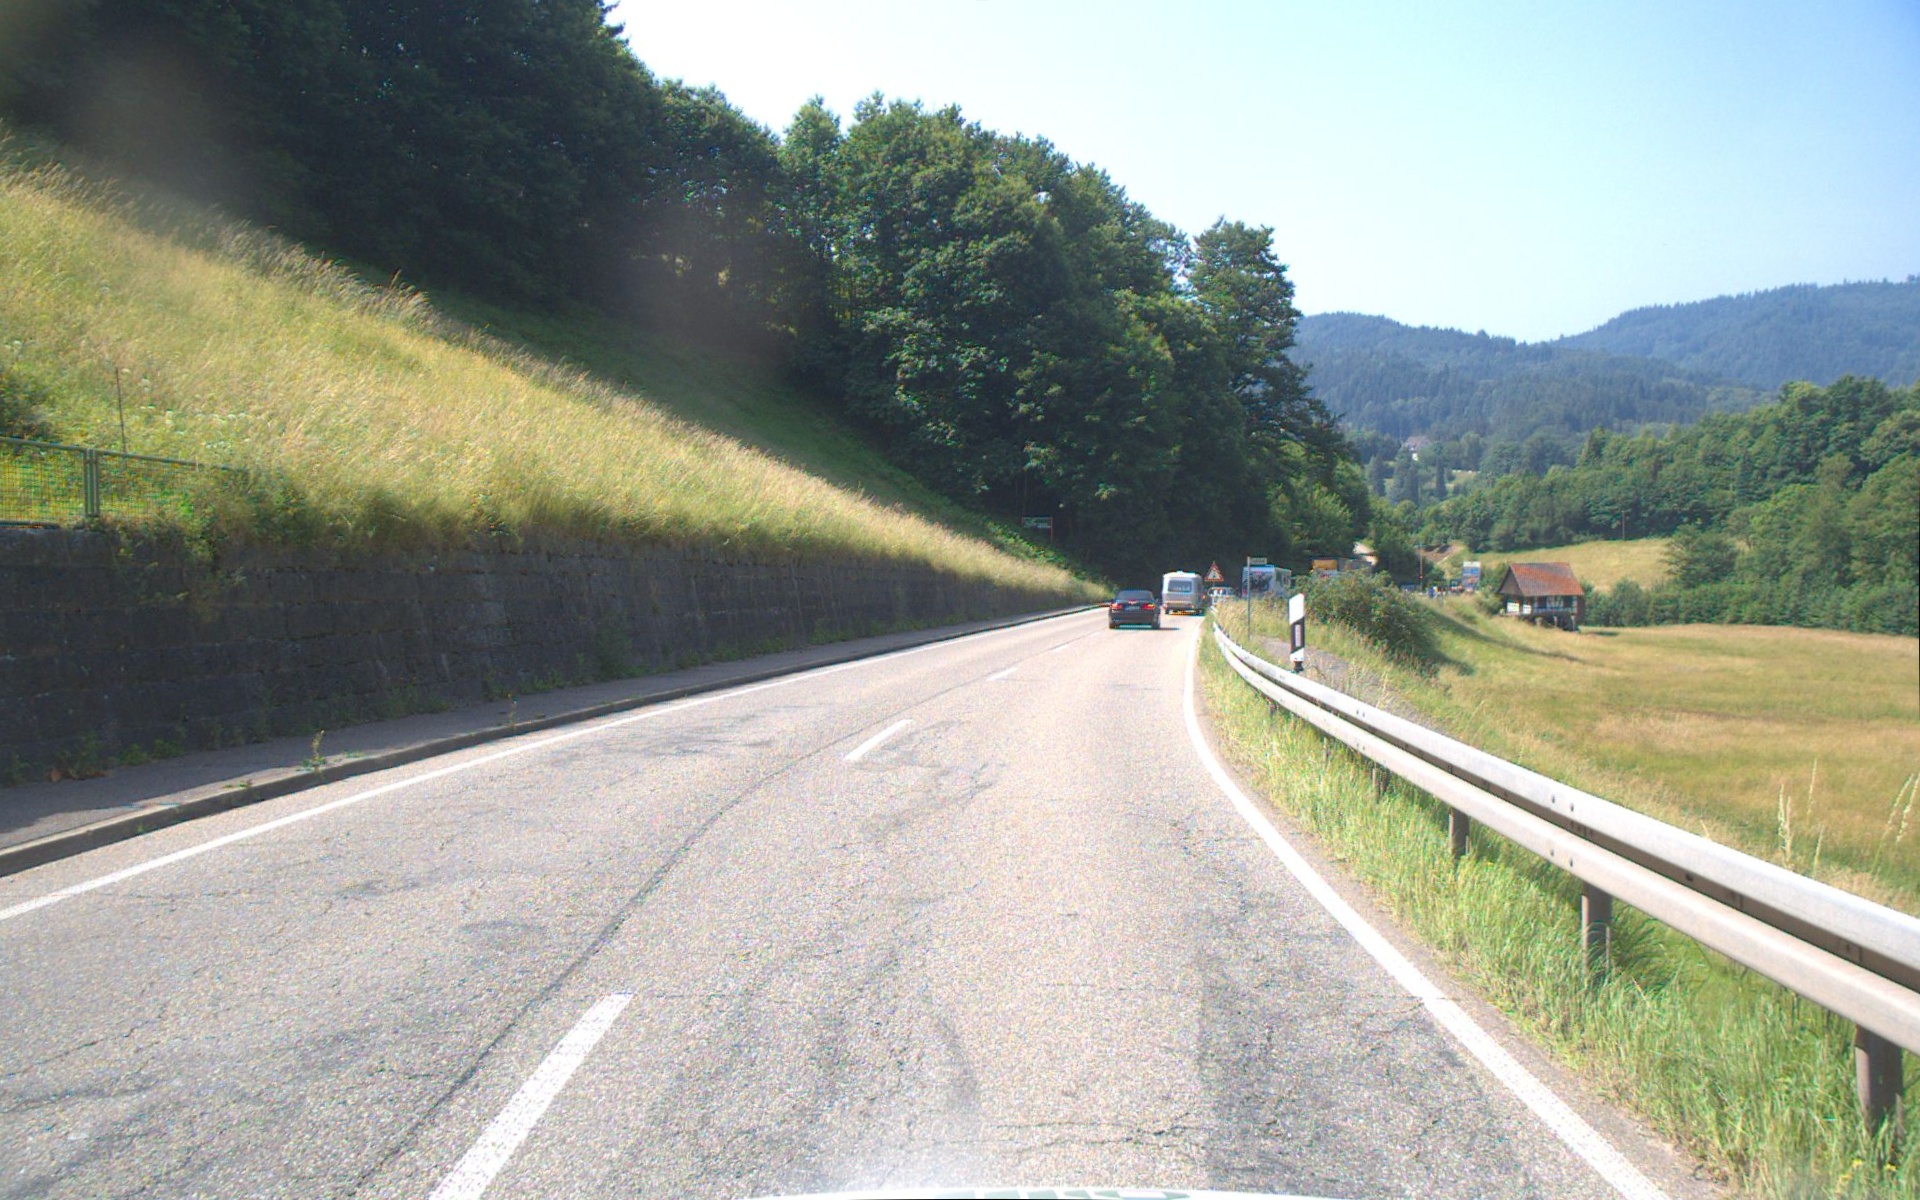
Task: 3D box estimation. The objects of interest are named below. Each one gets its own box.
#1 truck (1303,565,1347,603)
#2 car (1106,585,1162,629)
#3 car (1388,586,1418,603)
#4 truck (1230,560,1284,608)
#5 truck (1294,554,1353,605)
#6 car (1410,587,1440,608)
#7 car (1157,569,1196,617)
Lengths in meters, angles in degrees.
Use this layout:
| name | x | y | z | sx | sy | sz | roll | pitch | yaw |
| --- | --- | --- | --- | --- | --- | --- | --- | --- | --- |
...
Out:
| name | x | y | z | sx | sy | sz | roll | pitch | yaw |
| --- | --- | --- | --- | --- | --- | --- | --- | --- | --- |
| truck | 30.272 | -1.299 | 136.983 | 2.193 | 2.852 | 6.227 | 3 | 0 | 25 |
| car | 6.192 | 0.207 | 58.591 | 1.733 | 1.358 | 3.771 | 2 | 2 | 9 |
| car | 42.176 | -0.544 | 157.395 | 1.870 | 1.511 | 3.995 | 4 | 2 | 27 |
| truck | 20.945 | -1.156 | 116.447 | 2.733 | 3.049 | 6.872 | 4 | 2 | 17 |
| truck | 33.204 | -1.887 | 151.004 | 3.131 | 4.472 | 6.555 | 3 | 2 | 32 |
| car | 46.554 | -0.287 | 165.682 | 1.957 | 1.959 | 3.993 | 4 | 2 | 29 |
| car | 11.783 | -0.421 | 90.252 | 1.951 | 2.393 | 4.918 | 2 | 2 | 6 |
